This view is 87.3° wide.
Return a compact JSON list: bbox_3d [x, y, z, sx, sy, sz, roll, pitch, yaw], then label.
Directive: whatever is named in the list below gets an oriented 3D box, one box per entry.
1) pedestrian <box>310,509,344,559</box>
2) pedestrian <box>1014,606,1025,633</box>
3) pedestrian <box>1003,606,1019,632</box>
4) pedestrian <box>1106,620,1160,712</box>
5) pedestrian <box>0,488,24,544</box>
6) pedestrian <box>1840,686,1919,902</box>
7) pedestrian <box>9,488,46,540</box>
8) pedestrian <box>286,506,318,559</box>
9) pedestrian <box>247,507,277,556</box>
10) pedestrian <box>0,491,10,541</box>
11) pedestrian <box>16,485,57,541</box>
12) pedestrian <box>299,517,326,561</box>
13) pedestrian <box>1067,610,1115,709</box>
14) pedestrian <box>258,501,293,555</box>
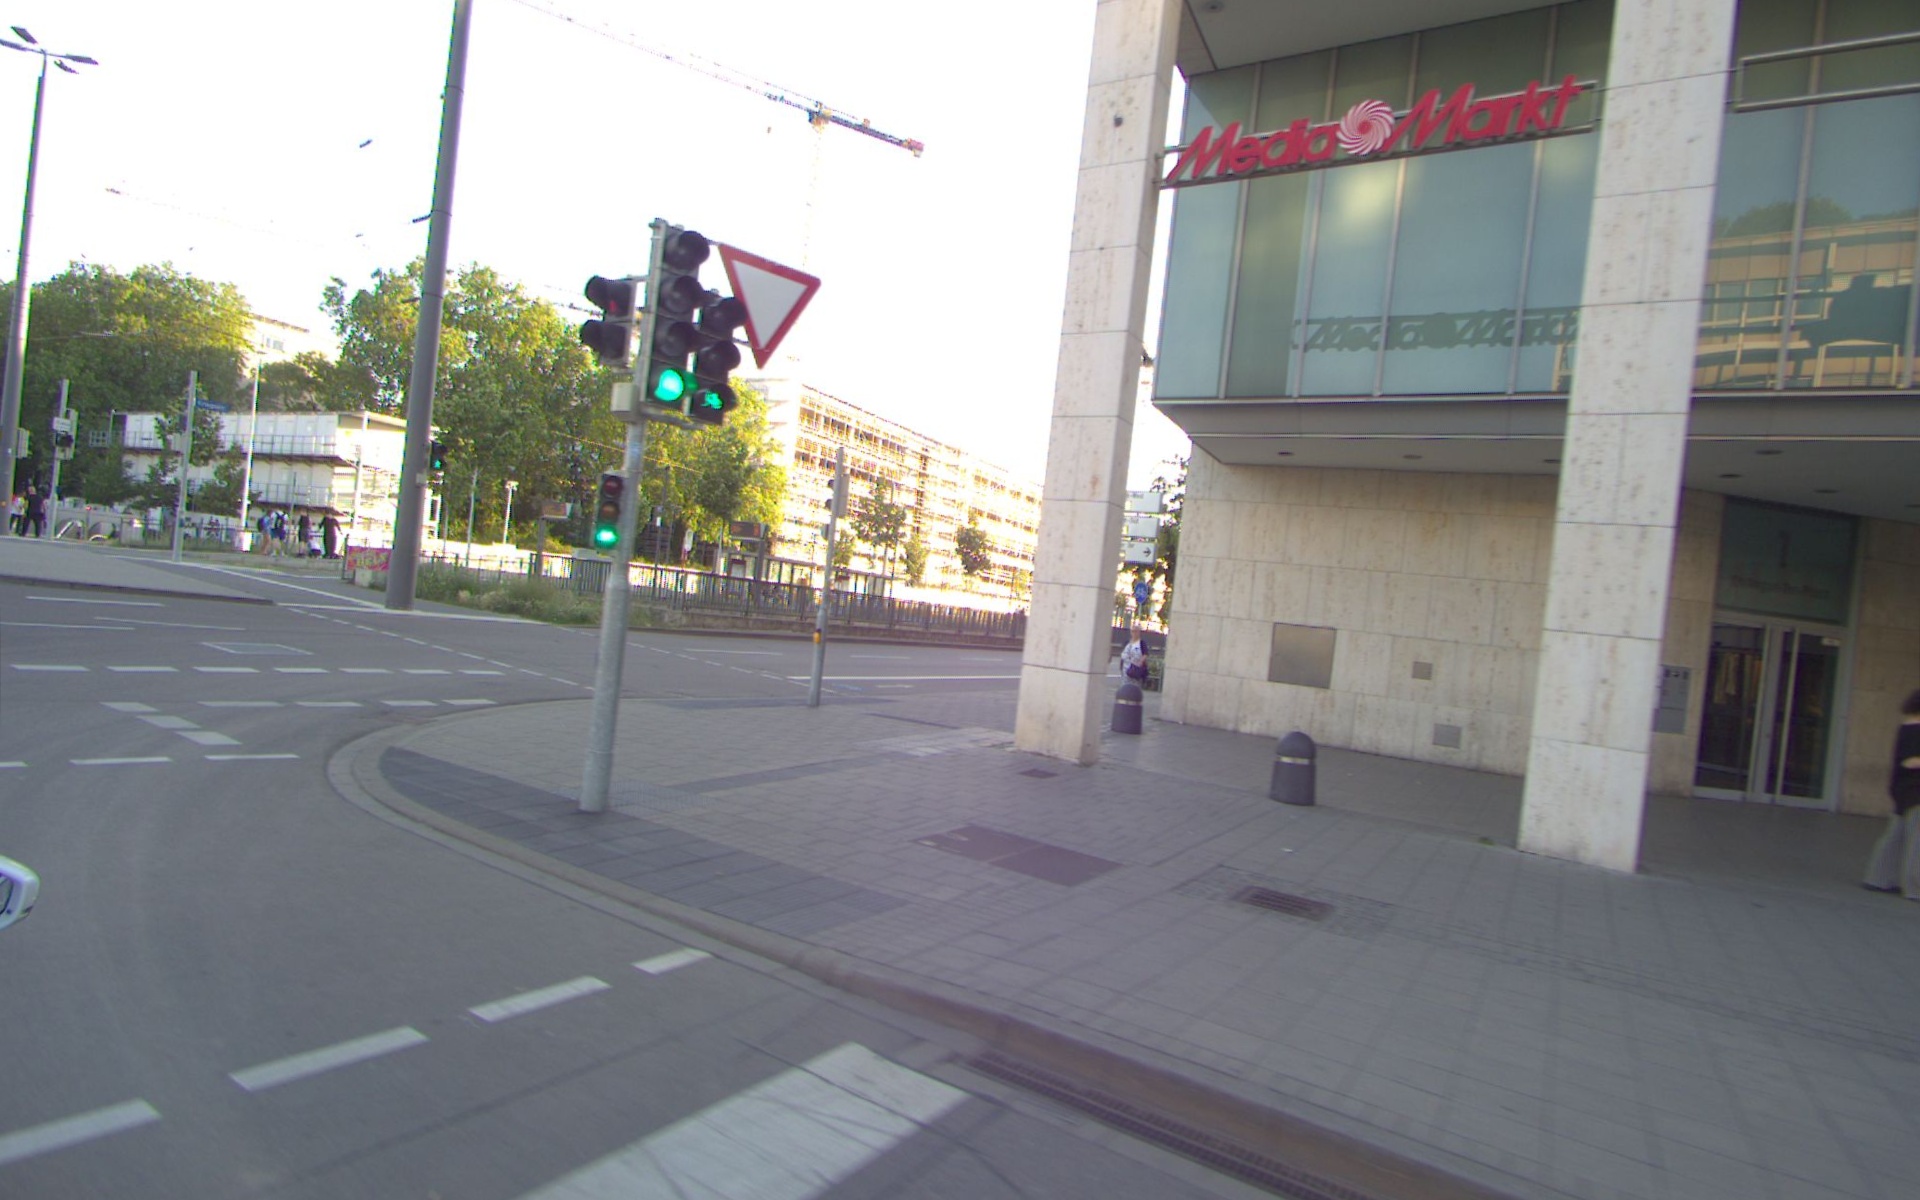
[{"bbox_3d":[-23.599,-2.450,37.495,0.657,1.746,0.712,7,1,30],"label":"pedestrian"},{"bbox_3d":[3.927,1.304,66.322,0.396,1.690,0.448,7,1,38],"label":"pedestrian"},{"bbox_3d":[3.400,1.262,66.724,0.657,1.690,0.574,7,1,37],"label":"pedestrian"},{"bbox_3d":[3.158,1.195,18.351,0.712,1.565,0.668,7,0,20],"label":"pedestrian"},{"bbox_3d":[-31.481,-2.787,33.196,0.700,1.756,0.837,6,1,-42],"label":"pedestrian"},{"bbox_3d":[7.856,1.579,8.244,0.696,1.659,0.791,7,0,32],"label":"pedestrian"},{"bbox_3d":[-35.505,-3.276,38.304,0.789,1.813,0.804,7,1,40],"label":"pedestrian"},{"bbox_3d":[-23.081,-2.356,35.293,0.708,1.746,0.661,6,1,-41],"label":"pedestrian"},{"bbox_3d":[-24.513,-2.406,35.323,0.527,1.612,0.571,7,1,32],"label":"pedestrian"},{"bbox_3d":[-33.762,-2.977,35.241,0.570,1.699,0.631,6,1,-44],"label":"pedestrian"},{"bbox_3d":[-31.707,-2.985,34.528,0.789,1.813,0.804,7,1,39],"label":"pedestrian"},{"bbox_3d":[-23.242,-2.186,36.127,0.672,1.459,0.707,6,1,-36],"label":"pedestrian"},{"bbox_3d":[2.432,1.097,18.670,0.579,1.746,0.668,7,1,20],"label":"pedestrian"},{"bbox_3d":[-23.629,-2.493,34.739,0.658,1.746,0.710,7,1,39],"label":"pedestrian"}]
